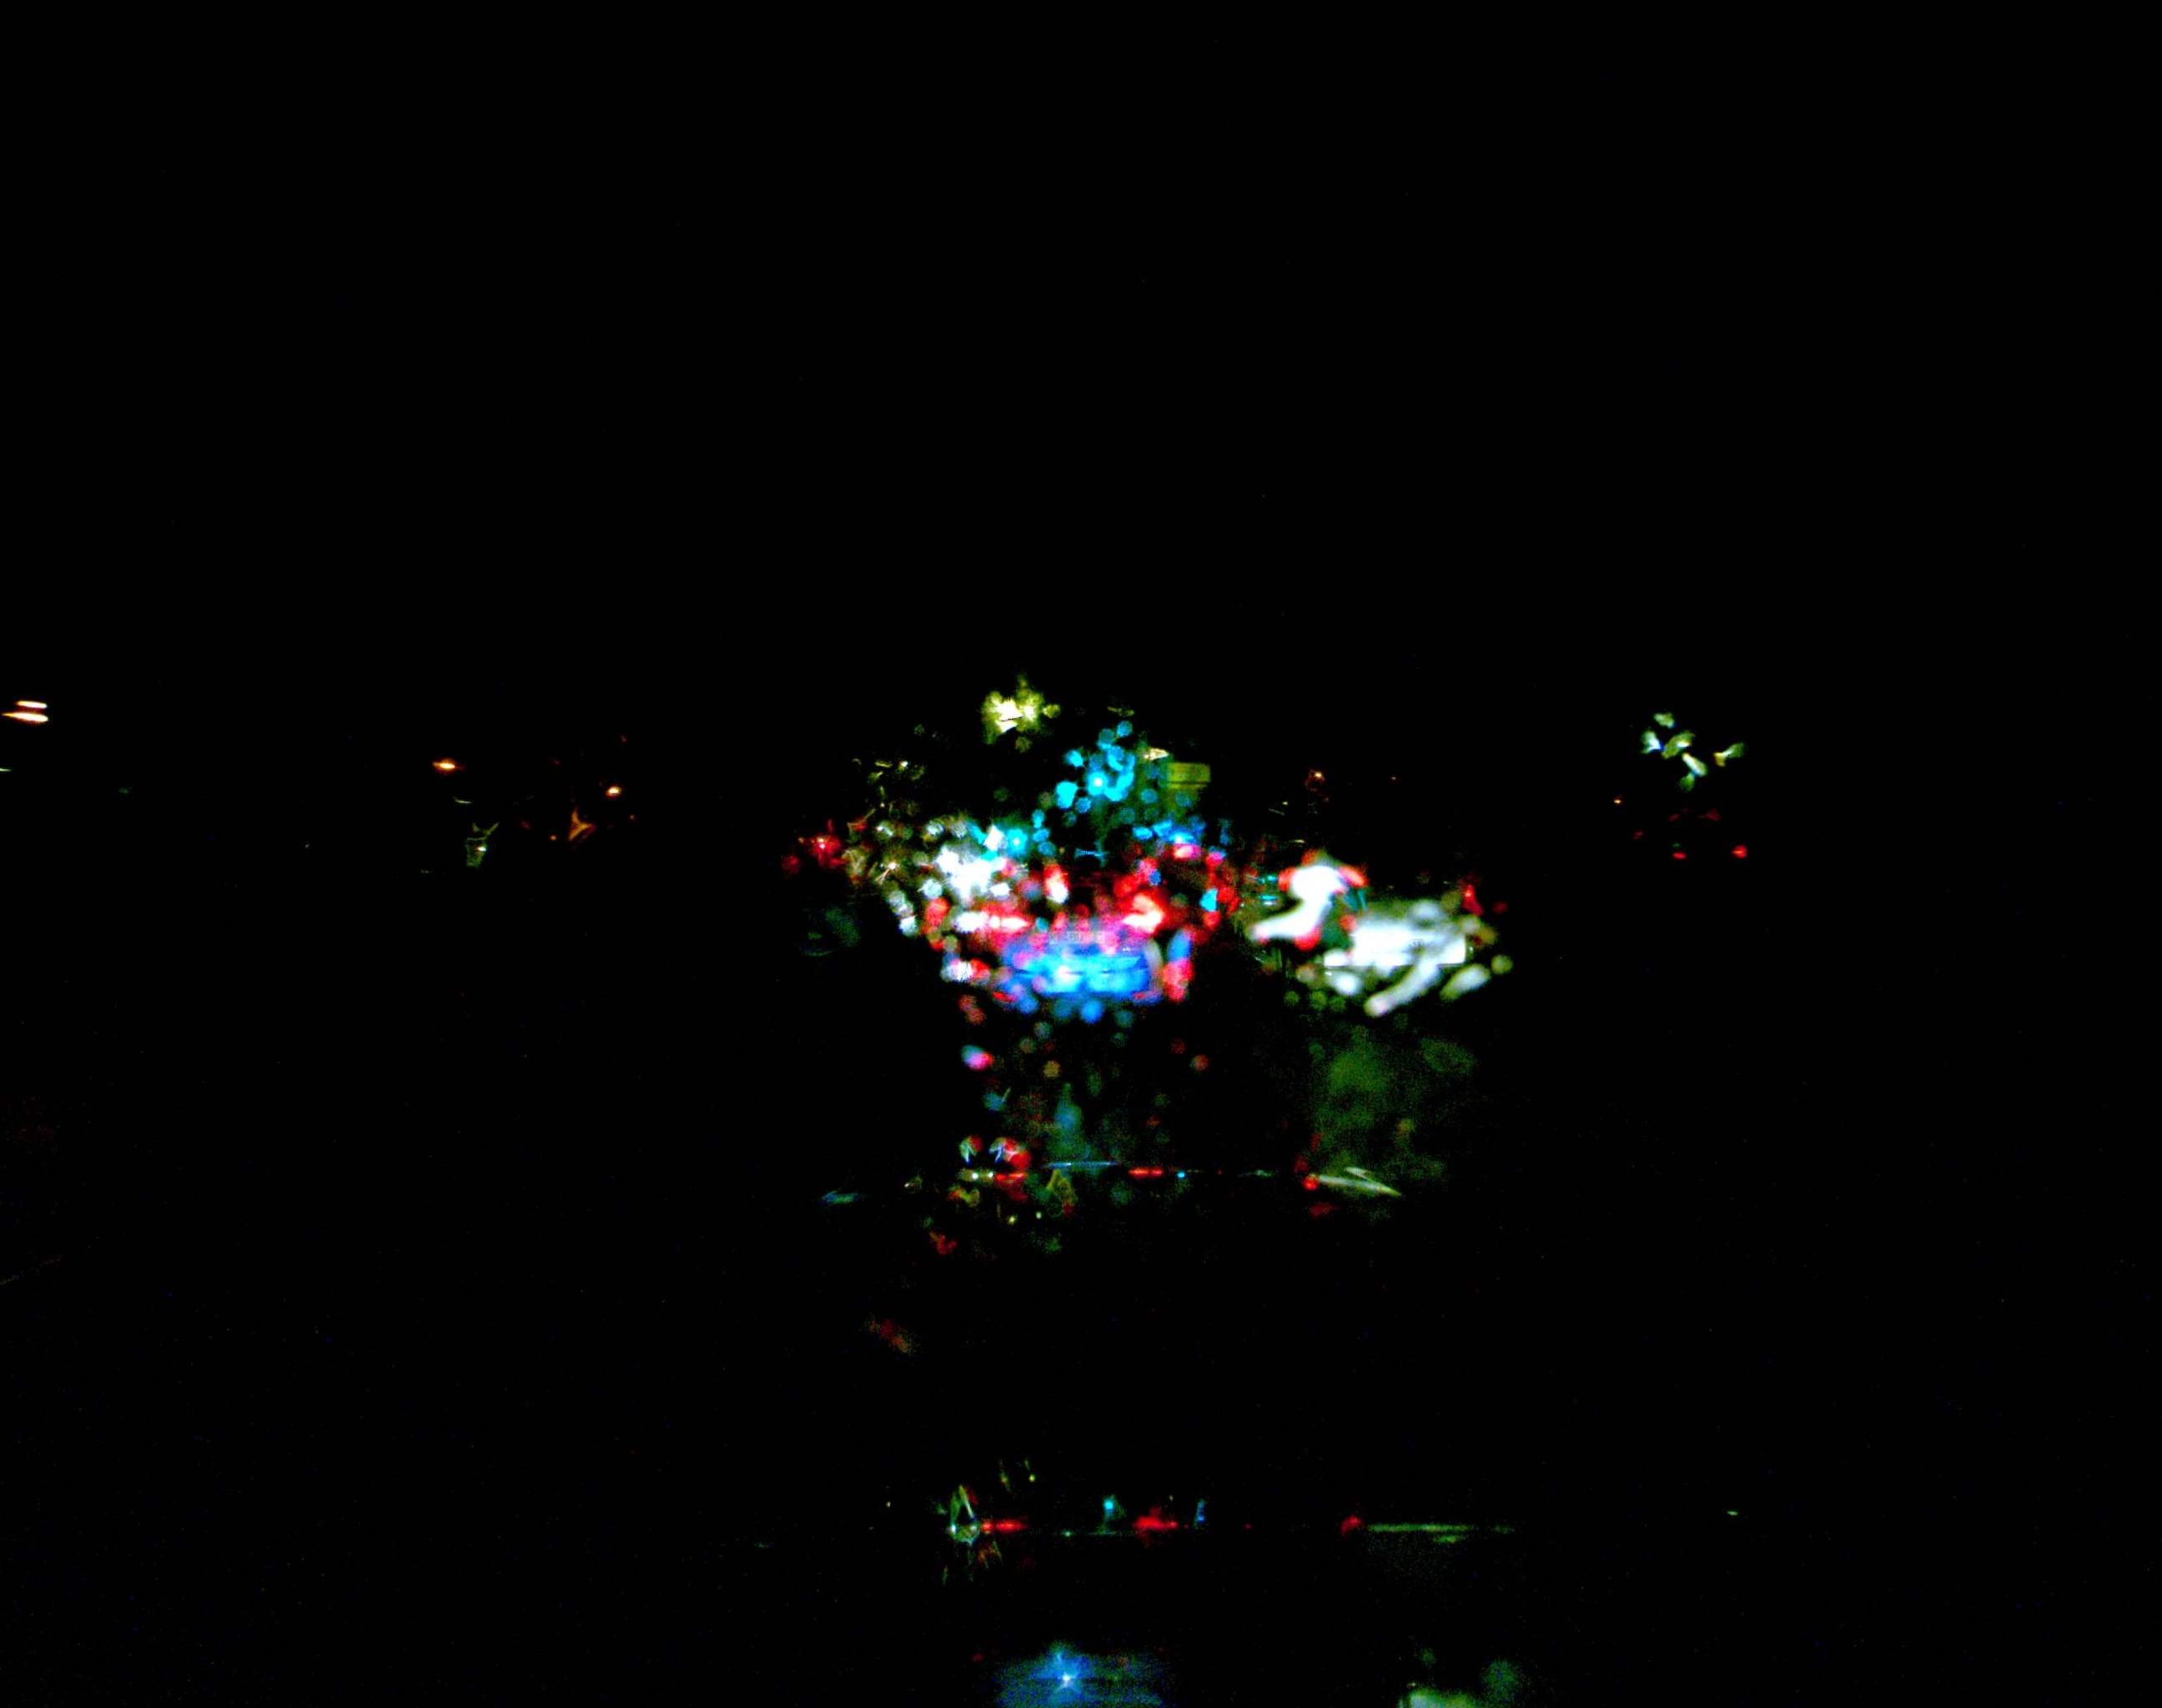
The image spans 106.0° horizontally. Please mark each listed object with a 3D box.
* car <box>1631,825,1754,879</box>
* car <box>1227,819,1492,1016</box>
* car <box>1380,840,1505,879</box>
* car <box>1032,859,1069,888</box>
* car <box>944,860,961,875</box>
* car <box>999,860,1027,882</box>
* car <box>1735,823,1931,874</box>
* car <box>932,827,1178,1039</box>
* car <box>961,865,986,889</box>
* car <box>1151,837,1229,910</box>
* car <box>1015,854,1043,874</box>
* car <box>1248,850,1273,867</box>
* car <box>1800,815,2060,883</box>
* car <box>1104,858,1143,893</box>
[{"bbox_3d":[18.414,-0.019,24.777,1.706,1.483,4.730,0,-1,20],"label":"car"},{"bbox_3d":[3.031,0.622,9.902,1.845,1.865,4.342,0,-1,2],"label":"car"},{"bbox_3d":[14.128,0.223,31.891,4.286,1.460,1.863,0,-1,30],"label":"car"},{"bbox_3d":[-1.978,1.189,51.152,1.992,1.732,3.989,0,-1,-8],"label":"car"},{"bbox_3d":[-17.226,1.791,108.897,1.995,2.014,3.982,0,-1,-13],"label":"car"},{"bbox_3d":[-5.803,1.429,69.196,1.994,1.824,3.984,0,-1,-11],"label":"car"},{"bbox_3d":[22.408,-0.139,24.480,3.950,1.430,1.855,0,-1,26],"label":"car"},{"bbox_3d":[-0.313,0.666,8.902,2.010,1.717,4.446,0,-1,-3],"label":"car"},{"bbox_3d":[-9.472,1.969,71.382,2.014,1.887,4.438,1,1,-9],"label":"car"},{"bbox_3d":[3.214,0.559,24.756,1.961,2.047,4.001,0,-1,2],"label":"car"},{"bbox_3d":[-5.027,0.968,78.419,1.996,1.820,3.981,0,-1,-14],"label":"car"},{"bbox_3d":[18.811,0.487,85.466,1.857,1.646,3.965,-3,-1,2],"label":"car"},{"bbox_3d":[19.995,-0.090,19.408,3.901,1.487,1.773,0,-1,20],"label":"car"},{"bbox_3d":[2.189,1.107,42.750,1.986,1.718,4.001,0,-1,2],"label":"car"}]
